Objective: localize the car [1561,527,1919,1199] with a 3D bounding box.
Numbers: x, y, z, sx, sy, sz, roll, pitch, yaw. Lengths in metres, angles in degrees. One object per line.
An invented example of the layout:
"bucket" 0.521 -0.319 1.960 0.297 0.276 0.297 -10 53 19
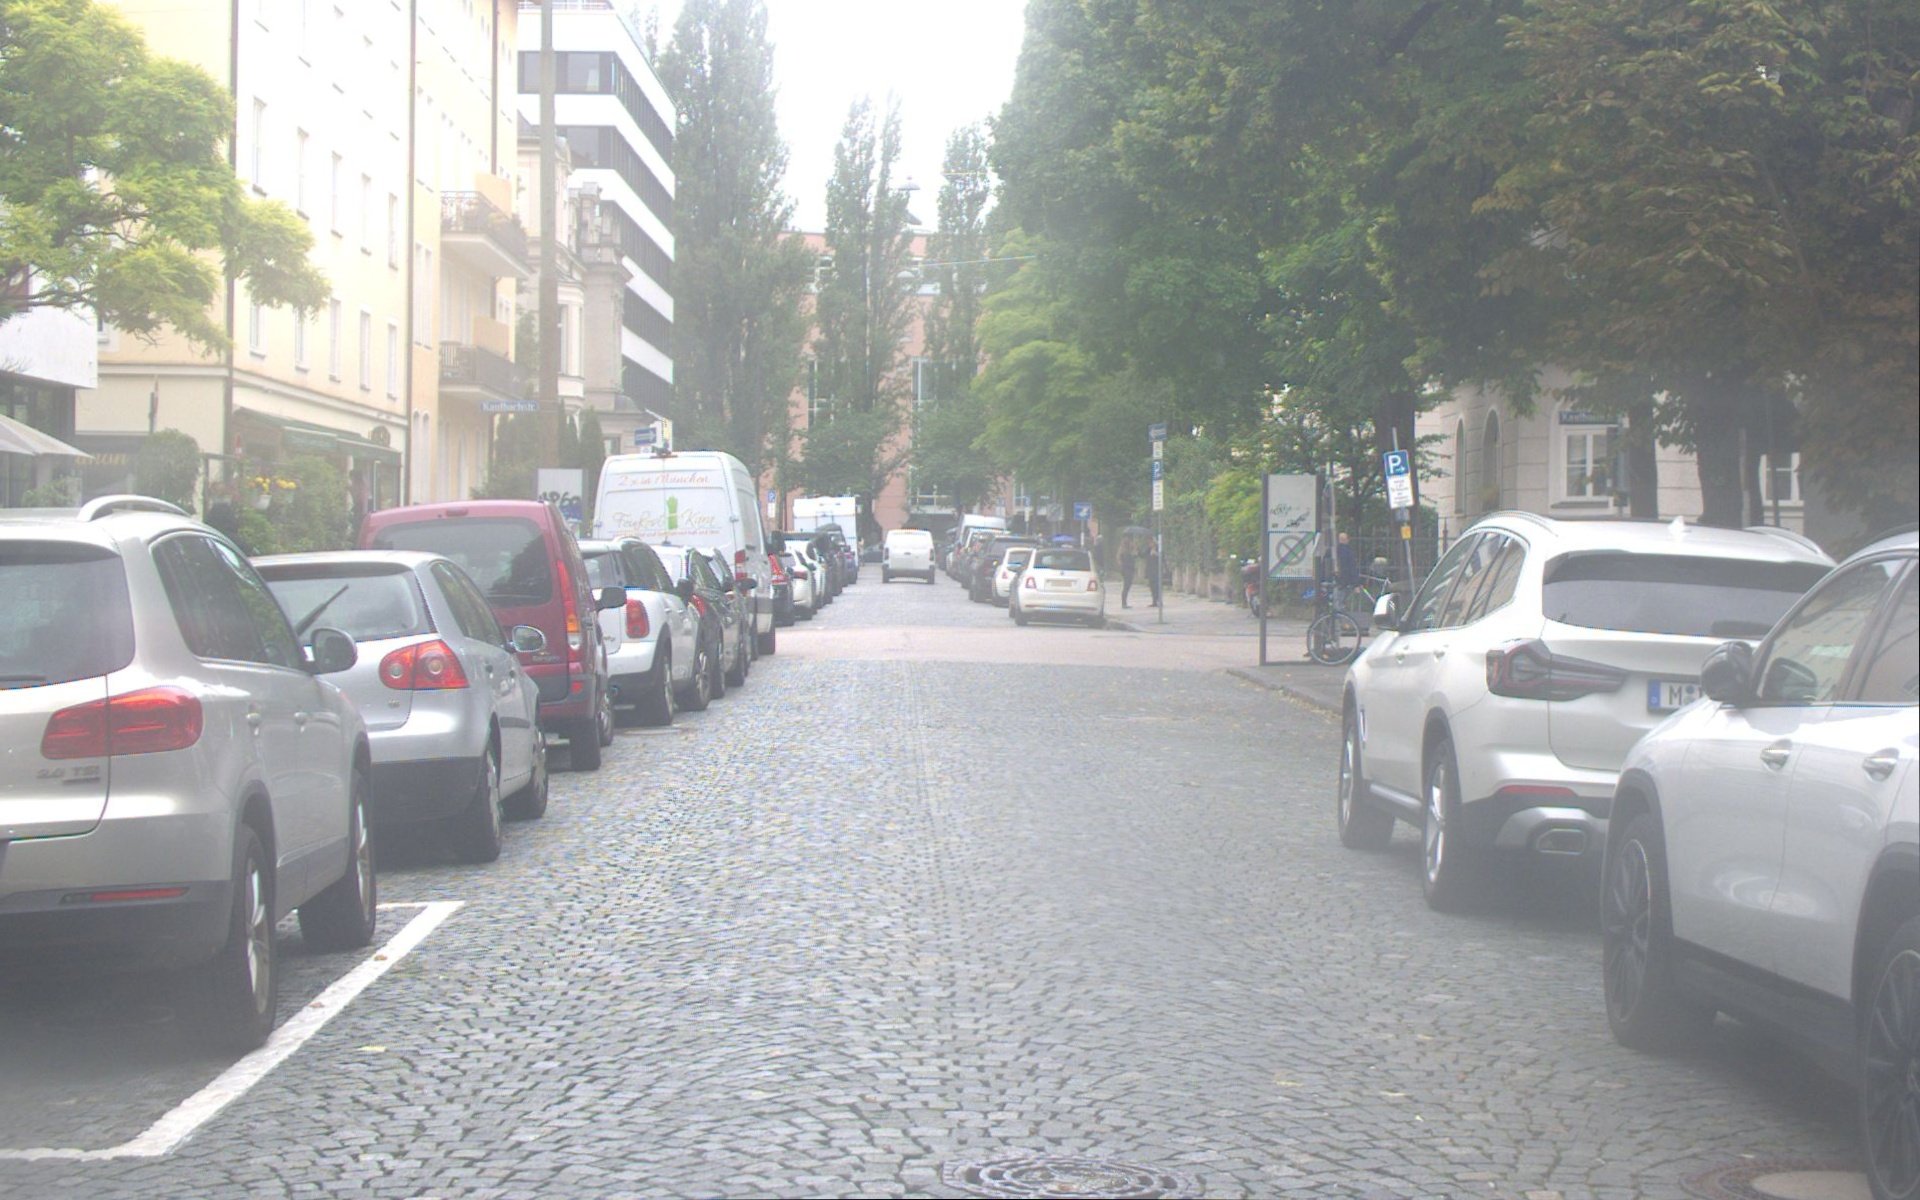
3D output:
"car" 2.928 0.664 8.855 1.817 1.574 4.208 4 1 -2

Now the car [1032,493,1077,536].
"car" 4.605 -4.144 168.010 1.993 2.007 4.000 1 1 0

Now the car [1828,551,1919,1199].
"car" 2.587 0.763 3.788 1.873 1.498 4.512 3 1 -3

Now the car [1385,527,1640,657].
"car" 8.966 -0.148 56.092 3.988 2.007 2.000 1 1 7

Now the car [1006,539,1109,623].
"car" 1.818 -0.377 65.154 1.790 1.515 4.000 1 1 0

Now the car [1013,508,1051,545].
"car" 4.017 -4.121 192.539 1.993 2.007 4.000 1 1 0

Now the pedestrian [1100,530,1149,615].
"pedestrian" 3.932 -0.665 82.139 0.856 2.007 0.991 1 1 -18

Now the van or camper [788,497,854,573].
"van or camper" -5.159 -2.439 128.606 2.256 2.733 5.098 2 1 -1

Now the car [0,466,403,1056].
"car" -3.053 0.415 11.393 1.873 1.574 4.256 -2 1 -3

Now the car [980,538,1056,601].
"car" 1.420 -0.776 85.798 1.790 1.515 4.000 1 1 0

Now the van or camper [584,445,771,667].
"van or camper" -3.566 -0.578 44.032 1.993 2.643 4.000 -2 1 0

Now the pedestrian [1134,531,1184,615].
"pedestrian" 4.775 -0.654 82.592 0.856 2.007 0.991 1 1 -18

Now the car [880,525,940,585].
"car" -1.690 -1.554 118.256 1.993 2.007 4.000 1 1 0

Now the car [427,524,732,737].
"car" -3.126 0.210 29.068 1.873 1.574 4.208 3 1 2

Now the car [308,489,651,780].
"car" -3.249 0.179 24.005 1.873 1.770 4.123 -3 1 -2

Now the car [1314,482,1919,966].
"car" 2.837 0.432 15.301 1.873 1.727 4.593 4 1 -1

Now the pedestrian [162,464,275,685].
"pedestrian" -6.573 -0.232 30.510 0.792 1.911 0.759 2 1 -1

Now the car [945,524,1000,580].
"car" 0.444 -1.807 128.960 1.993 2.007 4.000 1 1 0

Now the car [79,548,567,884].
"car" -3.079 0.485 17.452 1.873 1.446 4.209 -1 1 -3
